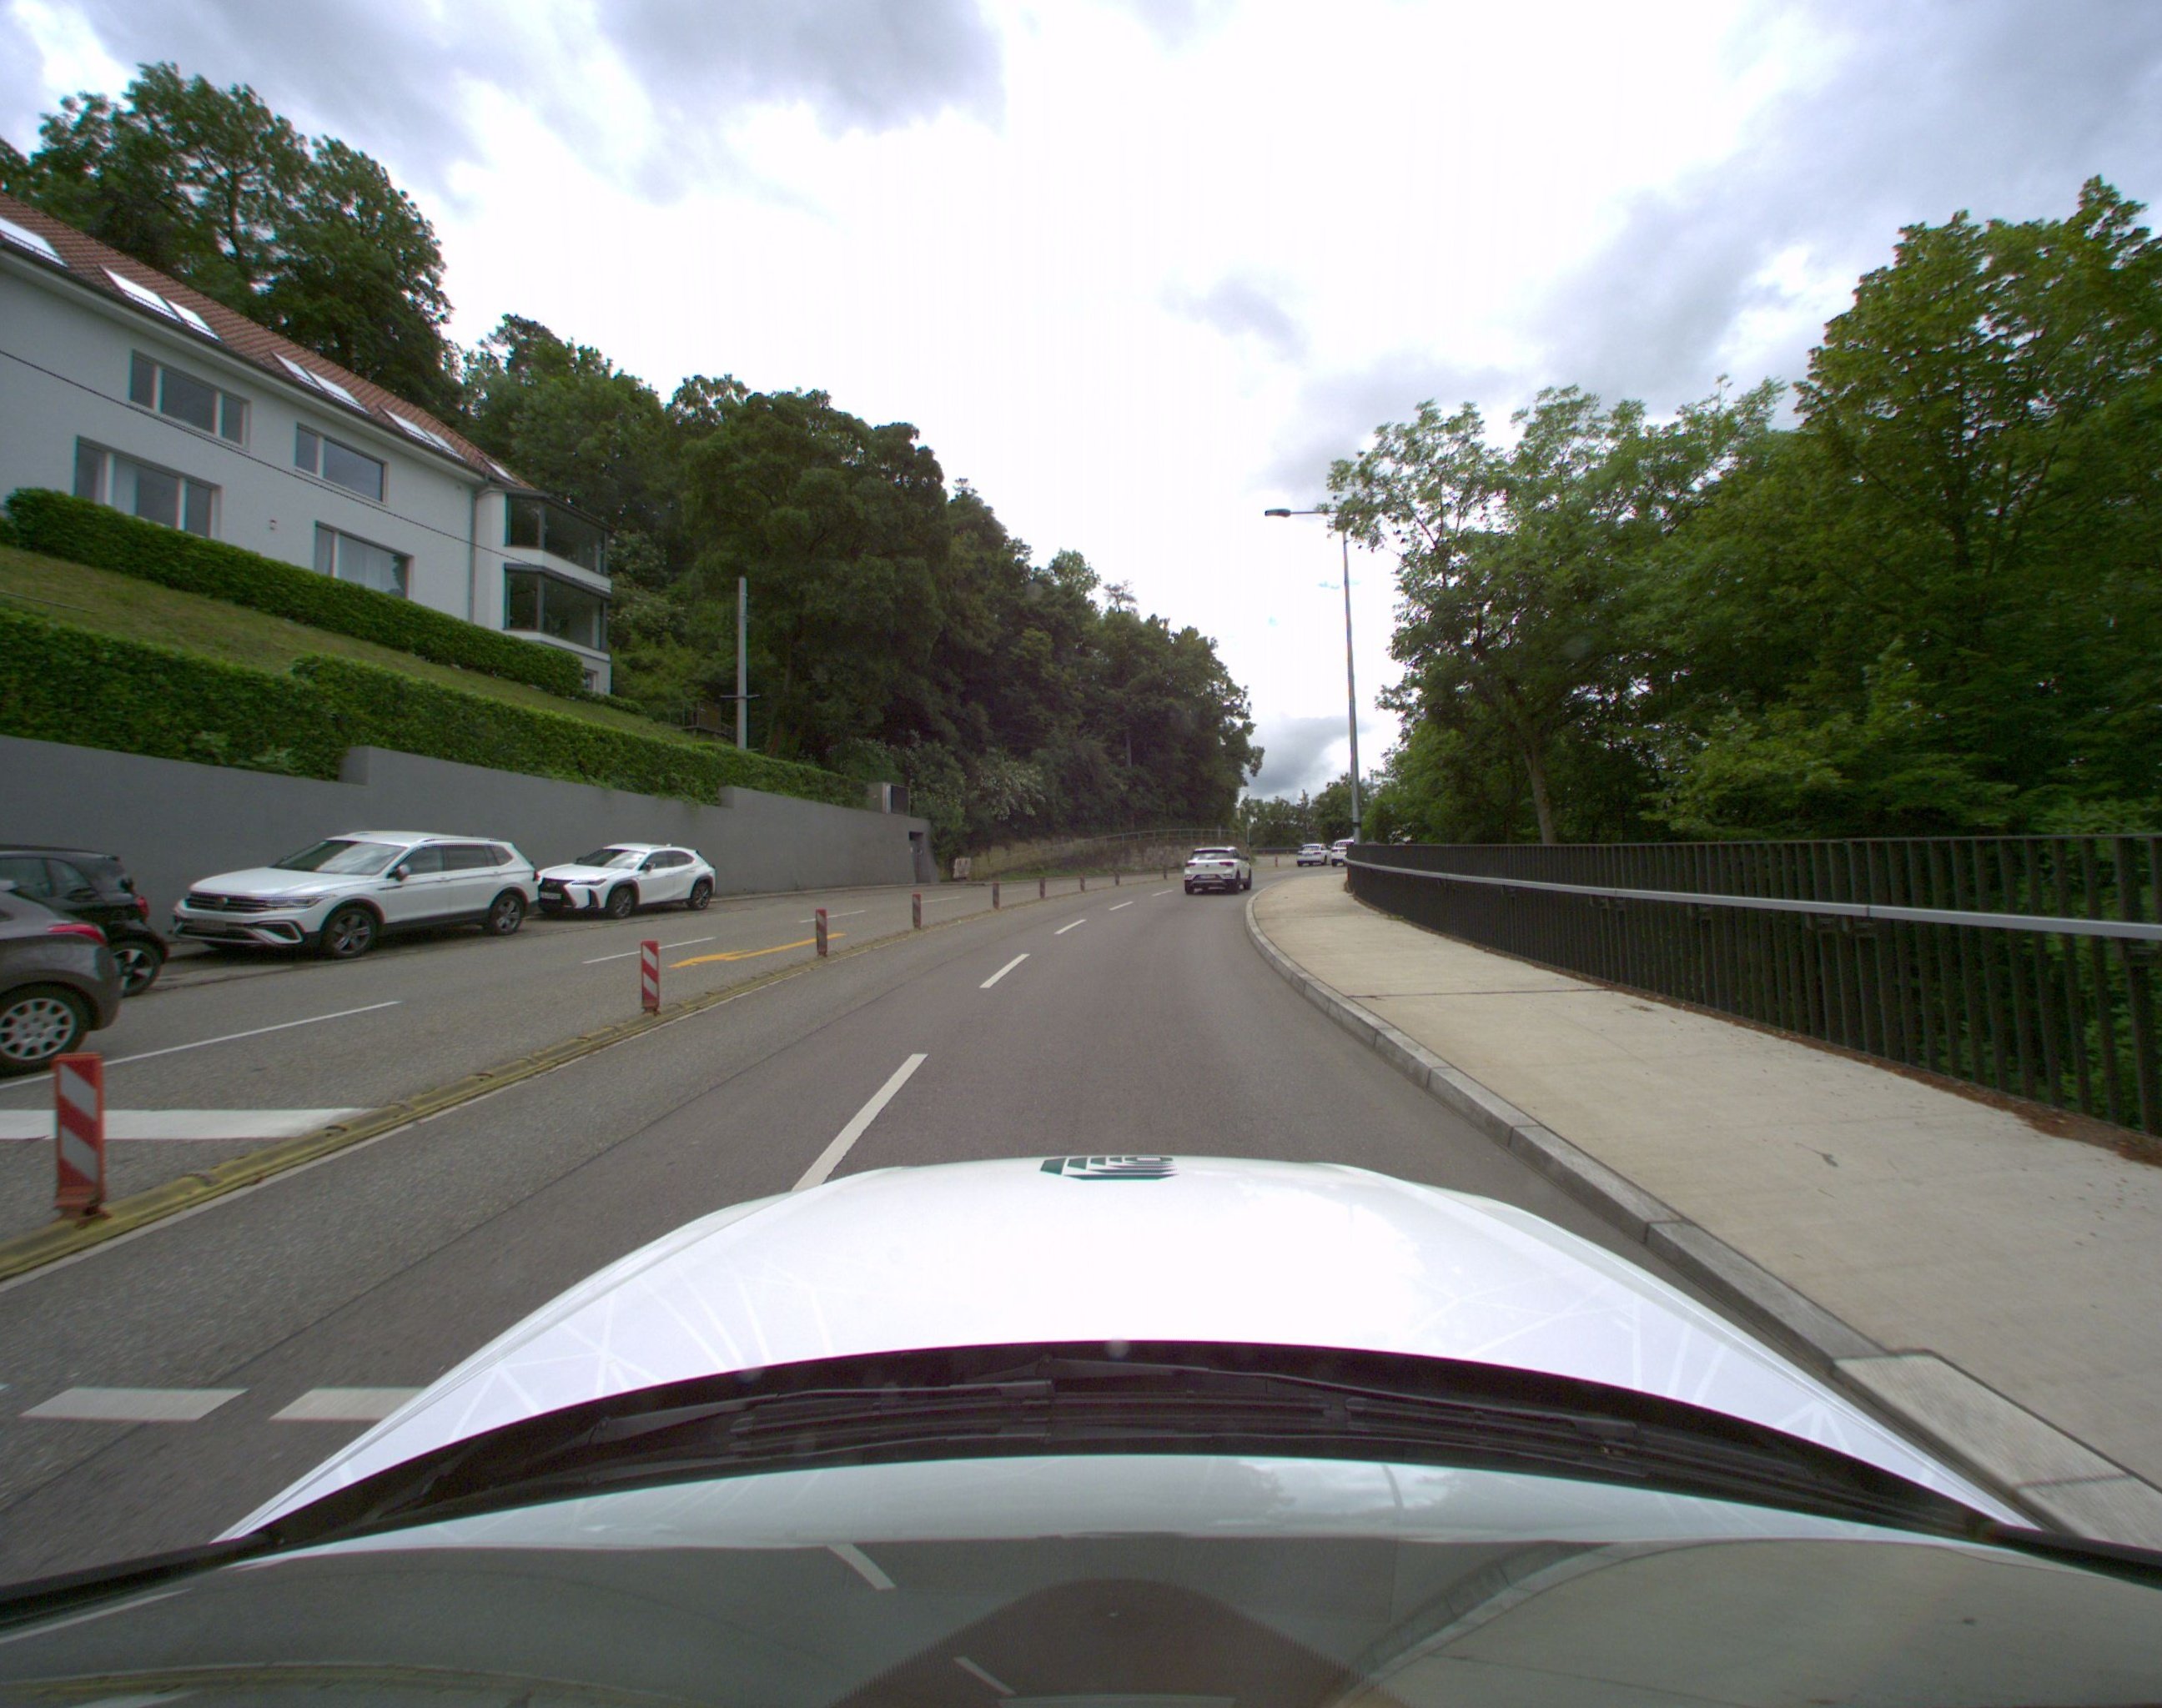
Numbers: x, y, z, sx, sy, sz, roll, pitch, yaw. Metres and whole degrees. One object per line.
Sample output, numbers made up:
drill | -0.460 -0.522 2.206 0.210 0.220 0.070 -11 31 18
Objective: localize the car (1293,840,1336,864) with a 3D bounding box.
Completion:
car | 15.710 -0.126 54.634 1.888 1.574 4.025 1 0 30

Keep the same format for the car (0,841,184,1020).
car | -10.782 0.709 7.494 1.705 1.573 2.959 3 1 1

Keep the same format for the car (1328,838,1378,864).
car | 17.045 -0.159 50.976 1.974 1.586 4.025 1 0 33

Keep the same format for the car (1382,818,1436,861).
car | 21.290 -0.950 52.675 2.064 2.523 5.882 -4 -1 32

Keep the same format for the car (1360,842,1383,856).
car | 32.269 -0.503 90.456 1.632 1.464 4.008 -1 0 7

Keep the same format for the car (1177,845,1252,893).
car | 4.656 0.453 27.954 1.851 1.536 3.823 0 1 20

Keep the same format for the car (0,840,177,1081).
car | -8.048 0.708 4.327 1.704 1.597 4.208 0 0 2

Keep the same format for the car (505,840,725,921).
car | -10.177 0.529 18.288 1.821 1.572 4.487 1 0 10

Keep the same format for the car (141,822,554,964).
car | -10.702 0.481 12.542 1.851 1.731 4.764 1 0 3
